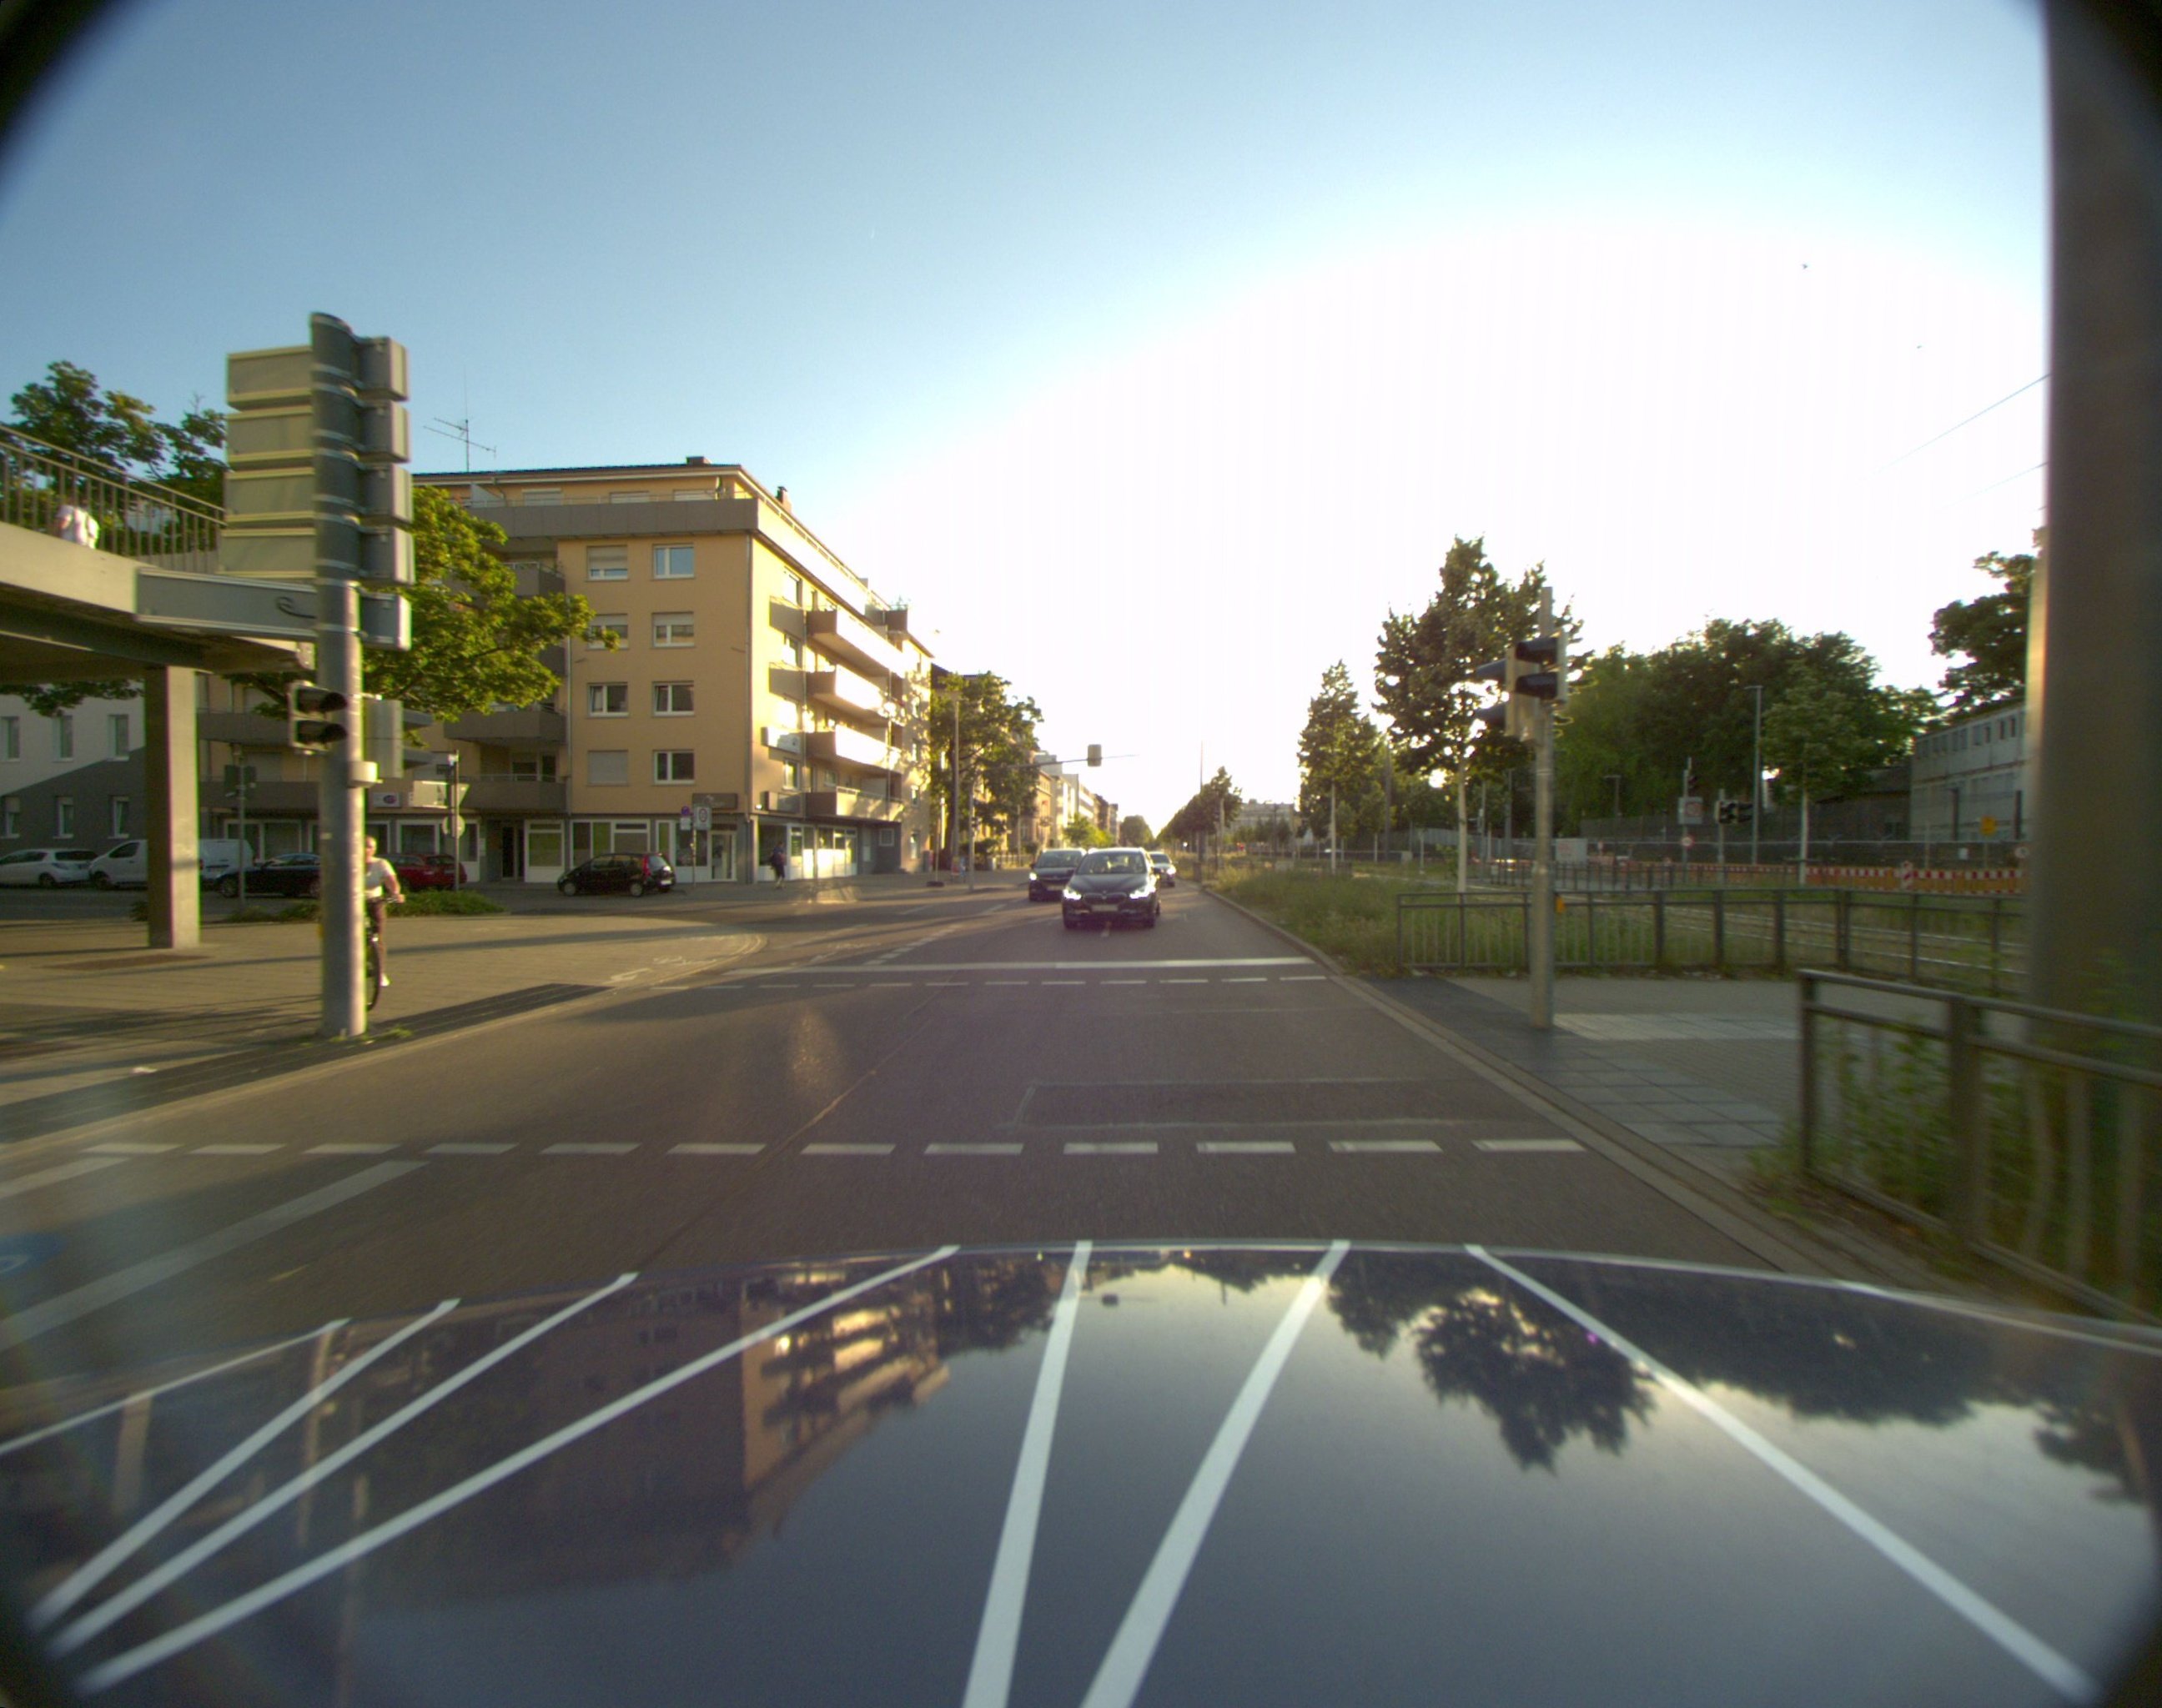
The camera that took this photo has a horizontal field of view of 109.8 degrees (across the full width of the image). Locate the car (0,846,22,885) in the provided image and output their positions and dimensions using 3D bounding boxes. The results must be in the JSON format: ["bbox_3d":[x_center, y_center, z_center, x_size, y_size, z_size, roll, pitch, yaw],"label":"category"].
[{"bbox_3d":[-43.483,0.446,28.946,4.245,1.478,1.606,1,2,4],"label":"car"}]

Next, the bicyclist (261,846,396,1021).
[{"bbox_3d":[-7.855,0.772,7.986,0.821,1.682,0.958,0,1,-33],"label":"bicyclist"}]

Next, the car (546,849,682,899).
[{"bbox_3d":[-16.415,0.674,26.799,3.811,1.552,1.615,0,4,6],"label":"car"}]

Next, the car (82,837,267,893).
[{"bbox_3d":[-33.604,0.371,28.267,4.535,1.855,1.999,0,5,4],"label":"car"}]

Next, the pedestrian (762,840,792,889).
[{"bbox_3d":[-11.484,0.381,28.704,0.839,1.849,0.544,0,2,5],"label":"pedestrian"}]

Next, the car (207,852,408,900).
[{"bbox_3d":[-24.419,0.693,24.088,4.618,1.460,1.807,0,-1,2],"label":"car"}]

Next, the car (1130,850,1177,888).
[{"bbox_3d":[3.068,0.578,32.611,1.832,1.455,4.304,-2,0,5],"label":"car"}]

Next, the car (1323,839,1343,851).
[{"bbox_3d":[36.280,-1.257,109.345,1.848,1.551,3.801,-2,0,5],"label":"car"}]

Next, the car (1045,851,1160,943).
[{"bbox_3d":[0.605,0.726,15.350,1.824,1.510,4.793,-1,0,7],"label":"car"}]

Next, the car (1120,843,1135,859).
[{"bbox_3d":[6.004,-0.384,97.834,1.726,1.910,4.294,-2,0,2],"label":"car"}]

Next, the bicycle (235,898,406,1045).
[{"bbox_3d":[-7.855,1.125,7.978,0.821,1.166,2.142,0,1,-33],"label":"bicycle"}]

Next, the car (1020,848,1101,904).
[{"bbox_3d":[-0.550,0.626,24.203,1.826,1.589,4.369,-2,0,8],"label":"car"}]

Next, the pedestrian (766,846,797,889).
[{"bbox_3d":[-11.580,0.512,29.412,0.821,1.606,0.767,0,2,6],"label":"pedestrian"}]

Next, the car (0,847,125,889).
[{"bbox_3d":[-38.995,0.516,28.692,3.995,1.478,1.606,1,2,4],"label":"car"}]

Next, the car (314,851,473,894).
[{"bbox_3d":[-24.932,0.650,27.660,4.225,1.433,1.655,0,4,1],"label":"car"}]
